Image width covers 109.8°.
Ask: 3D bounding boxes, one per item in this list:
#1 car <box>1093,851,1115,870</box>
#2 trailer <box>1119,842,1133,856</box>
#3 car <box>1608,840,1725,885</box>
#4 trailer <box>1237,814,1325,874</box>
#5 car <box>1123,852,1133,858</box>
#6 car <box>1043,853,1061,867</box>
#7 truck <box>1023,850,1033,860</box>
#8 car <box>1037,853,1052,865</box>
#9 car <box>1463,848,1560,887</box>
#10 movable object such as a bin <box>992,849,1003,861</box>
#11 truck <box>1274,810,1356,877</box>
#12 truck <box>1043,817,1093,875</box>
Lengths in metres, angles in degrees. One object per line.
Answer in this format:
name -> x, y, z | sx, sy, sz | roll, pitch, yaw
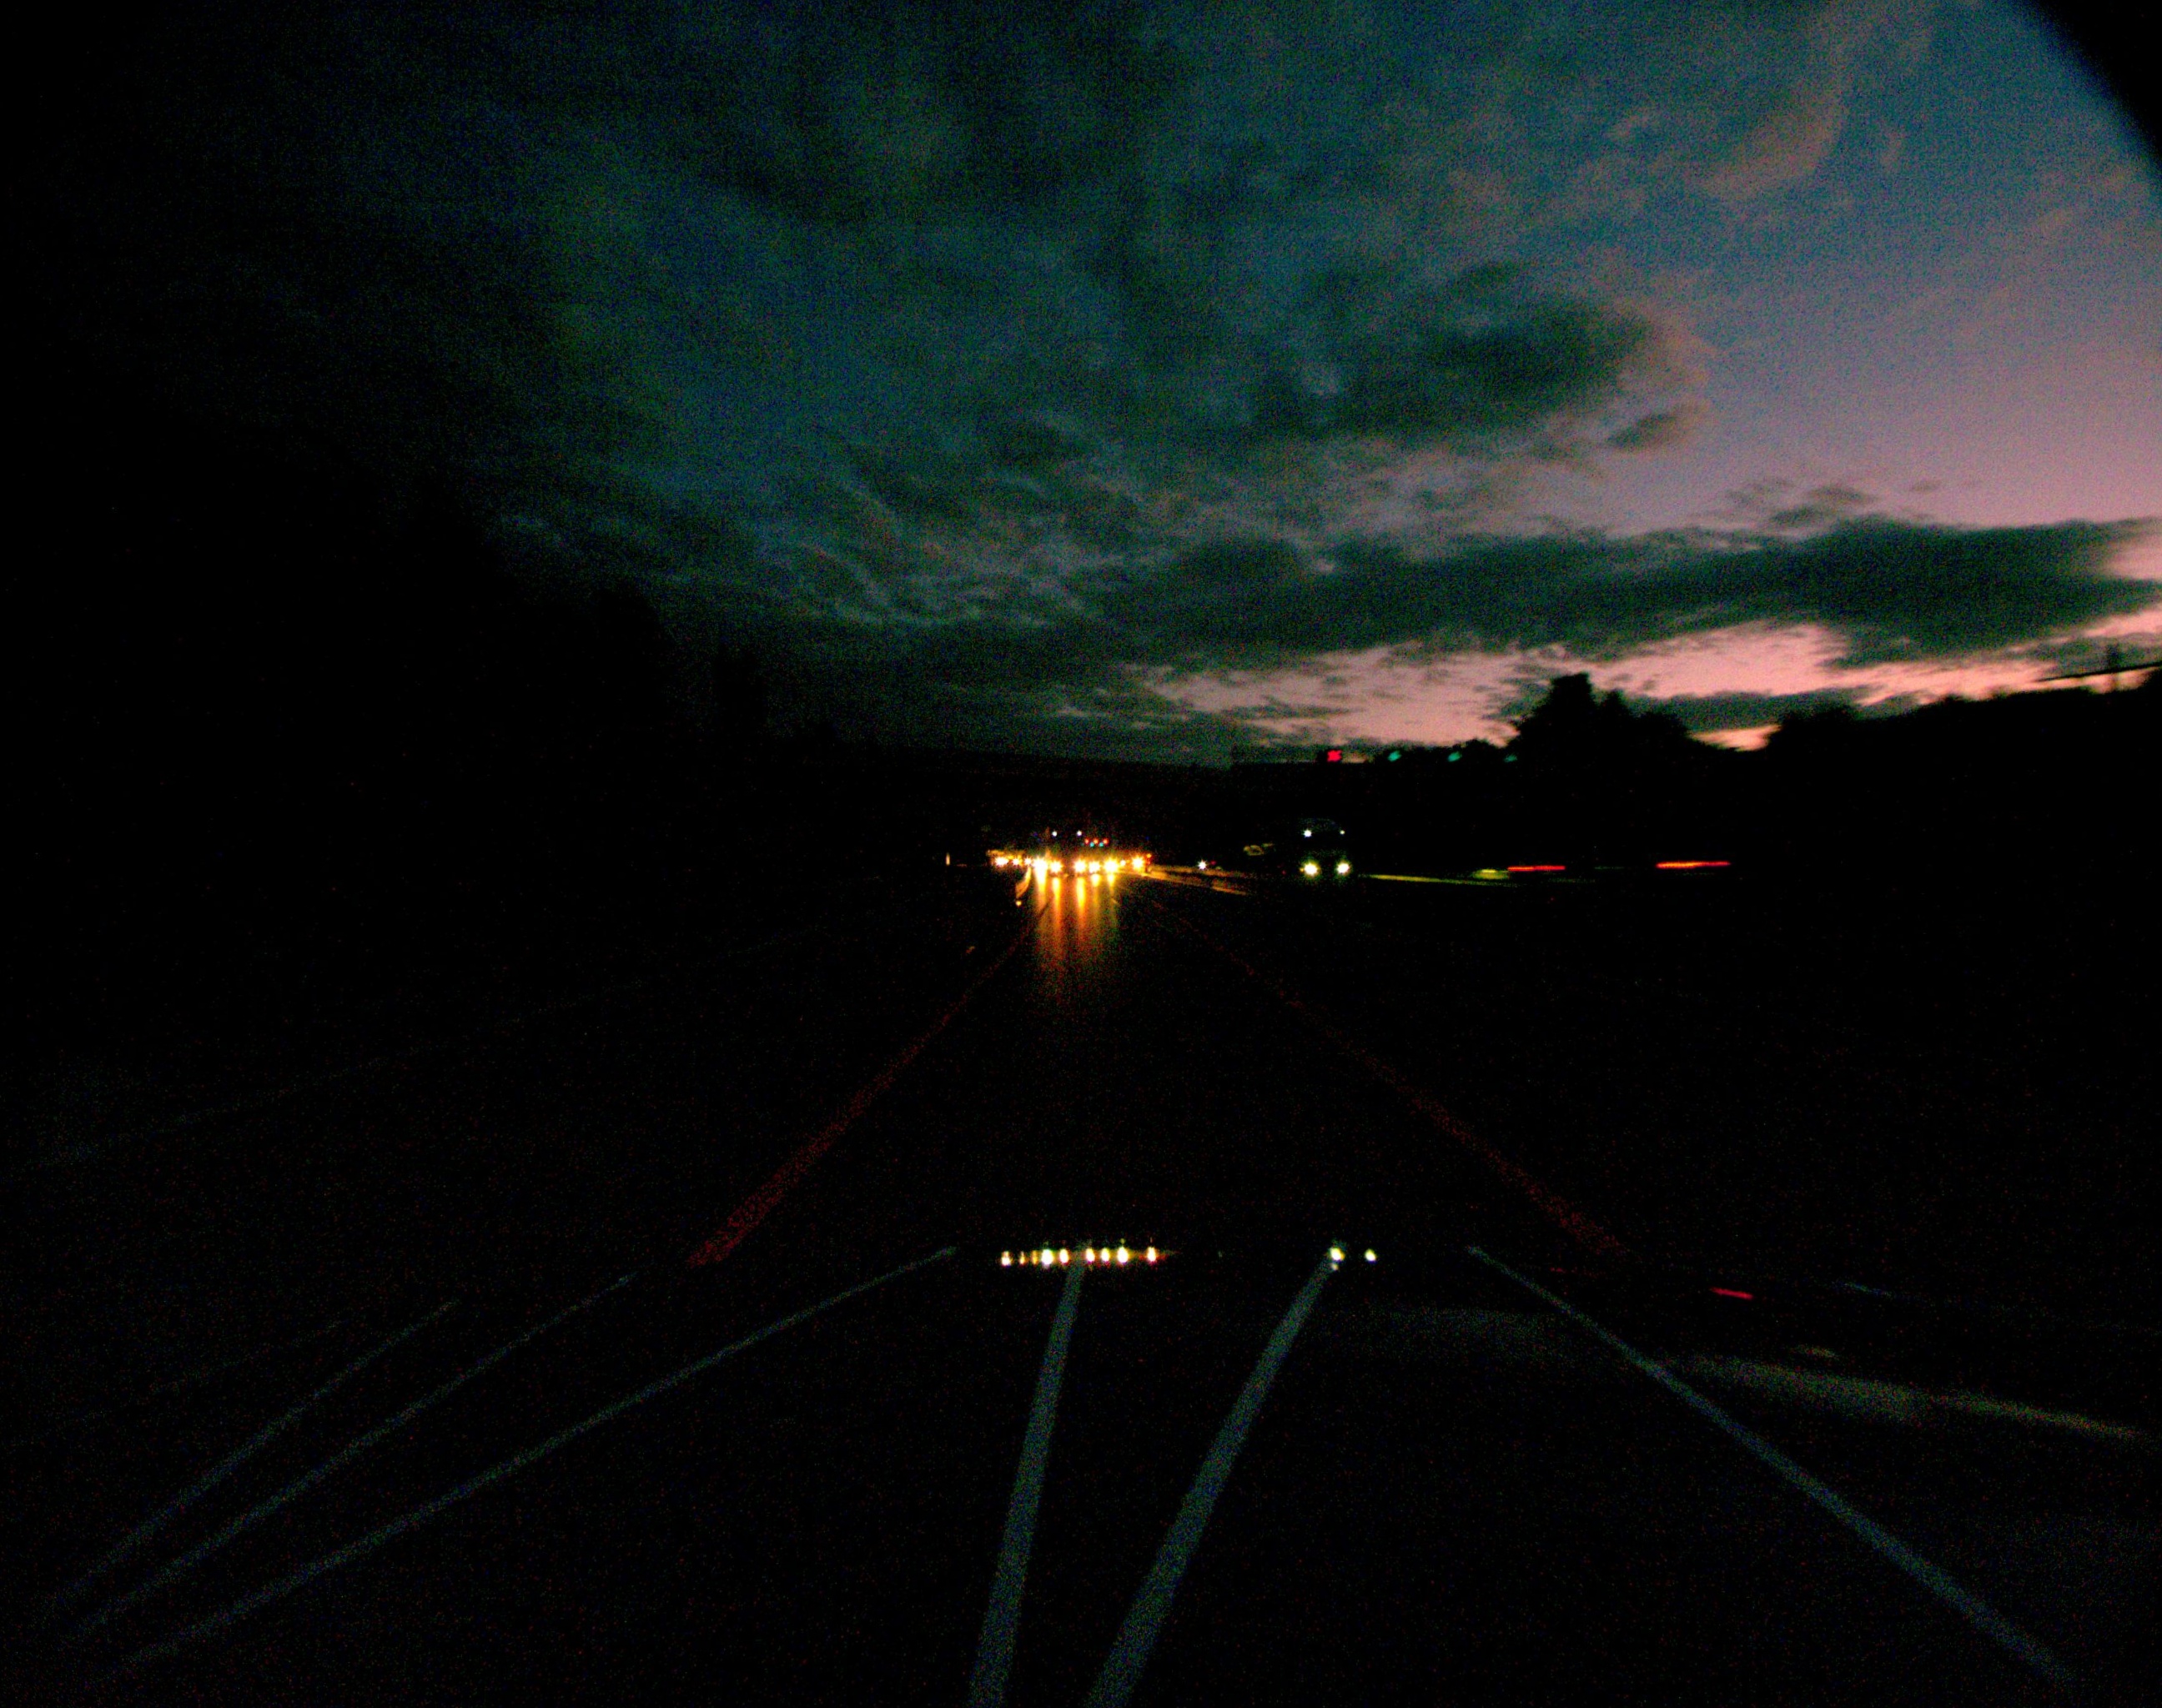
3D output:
car -> 1.953, 0.535, 66.083 | 1.663, 1.586, 3.995 | -3, 1, -1
trailer -> 13.721, -1.486, 234.434 | 2.786, 4.181, 12.397 | -3, 1, -3
car -> 24.709, 0.328, 32.275 | 1.912, 1.705, 3.943 | -3, 1, 0
trailer -> 14.211, -0.704, 55.253 | 2.806, 3.761, 11.832 | -3, 1, -1
car -> 12.823, 0.215, 206.653 | 1.999, 1.664, 4.580 | -3, 1, -5
car -> -3.639, 0.693, 93.725 | 1.926, 1.606, 3.998 | -1, 0, -6
truck -> -14.559, 0.231, 209.095 | 1.999, 2.817, 6.294 | -3, 1, 0
car -> -5.143, 0.706, 106.841 | 1.926, 1.606, 3.998 | -1, 0, -6
car -> 20.662, 0.593, 36.700 | 1.835, 1.651, 4.840 | -3, 1, -1
movable object such as a bin -> -22.196, 0.267, 201.874 | 2.629, 3.090, 5.801 | -1, 0, -7
truck -> 14.451, -0.636, 47.542 | 2.810, 3.753, 6.300 | -3, 1, -3
truck -> -1.232, -0.605, 62.595 | 2.955, 4.241, 11.045 | -3, 1, -6
